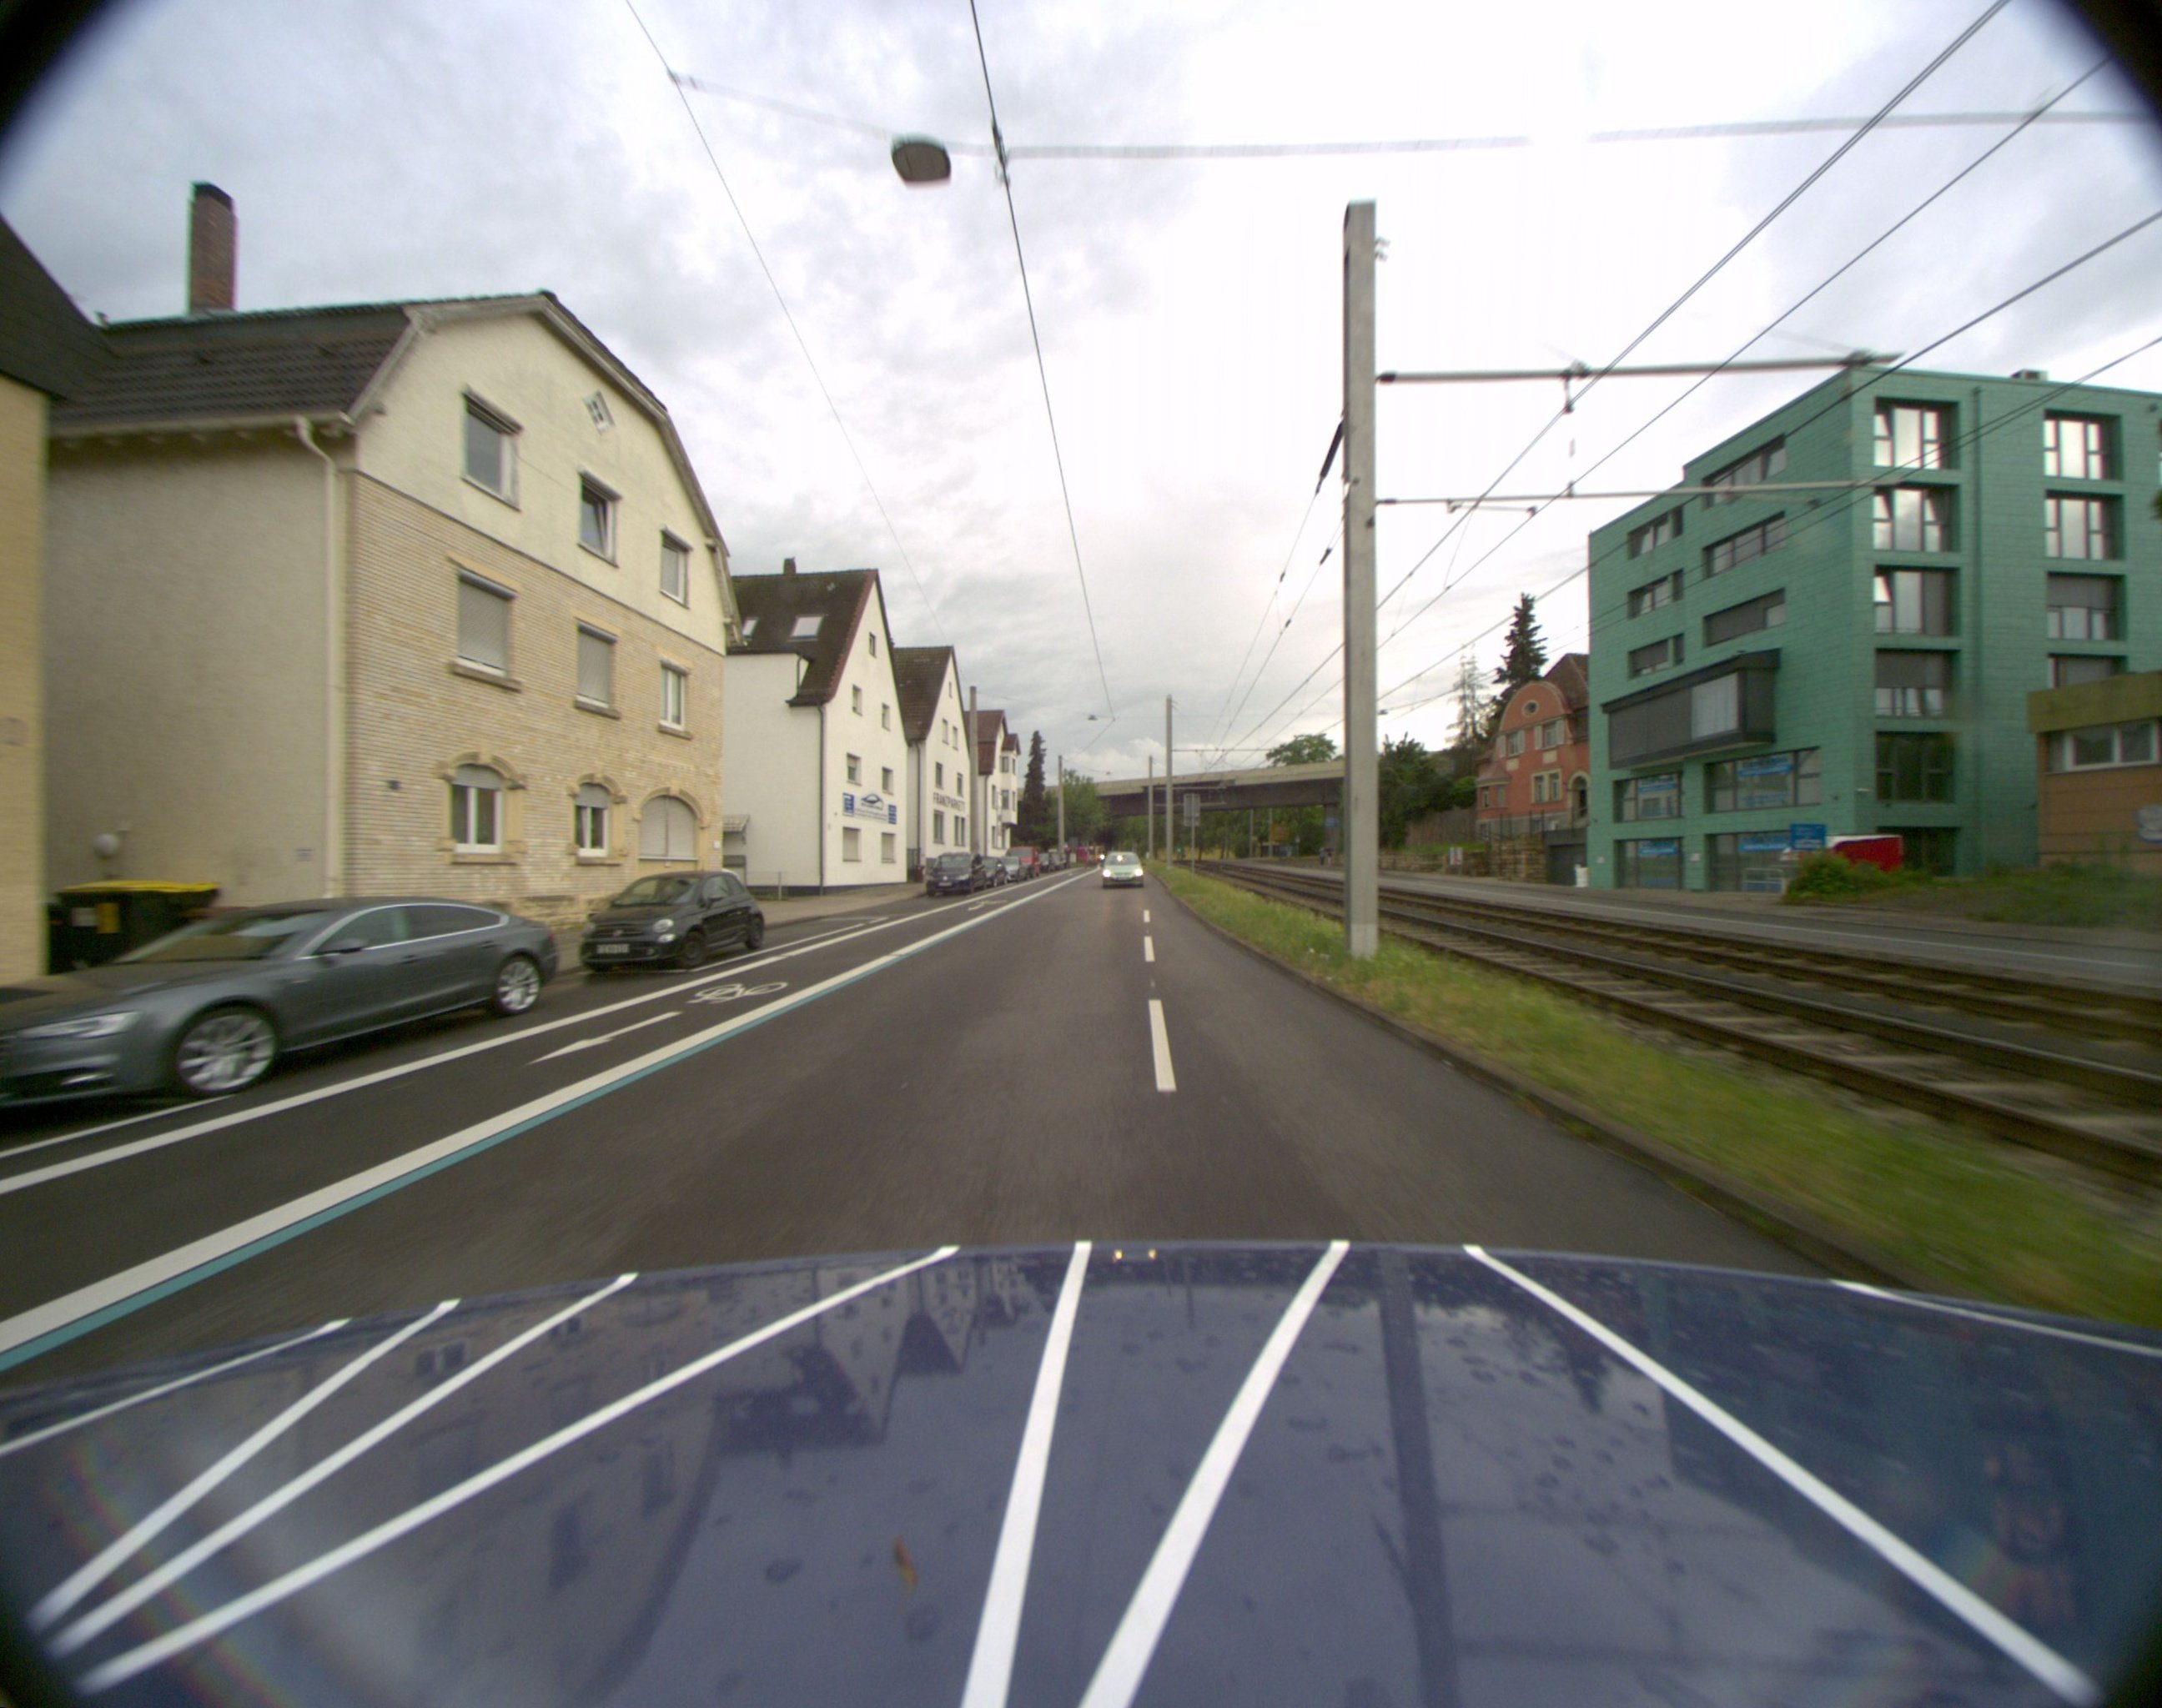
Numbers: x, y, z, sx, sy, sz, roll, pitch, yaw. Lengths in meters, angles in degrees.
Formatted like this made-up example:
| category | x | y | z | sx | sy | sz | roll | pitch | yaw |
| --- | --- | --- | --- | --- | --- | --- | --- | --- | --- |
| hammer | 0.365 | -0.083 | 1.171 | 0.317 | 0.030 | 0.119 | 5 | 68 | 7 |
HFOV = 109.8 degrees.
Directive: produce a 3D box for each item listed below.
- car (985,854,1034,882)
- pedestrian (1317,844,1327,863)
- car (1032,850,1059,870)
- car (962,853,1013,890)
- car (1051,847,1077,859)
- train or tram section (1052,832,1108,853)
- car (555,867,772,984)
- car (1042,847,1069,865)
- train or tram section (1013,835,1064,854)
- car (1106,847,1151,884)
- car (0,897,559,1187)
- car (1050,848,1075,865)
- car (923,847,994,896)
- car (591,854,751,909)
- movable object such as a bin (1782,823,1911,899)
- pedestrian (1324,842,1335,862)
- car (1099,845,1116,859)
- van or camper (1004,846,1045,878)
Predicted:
| category | x | y | z | sx | sy | sz | roll | pitch | yaw |
| --- | --- | --- | --- | --- | --- | --- | --- | --- | --- |
| car | -3.900 | 0.738 | 42.421 | 1.800 | 1.368 | 4.671 | -1 | 1 | 6 |
| pedestrian | 22.011 | -0.057 | 69.309 | 0.695 | 1.660 | 0.888 | -1 | 0 | 6 |
| car | -2.725 | 0.439 | 58.846 | 1.581 | 1.443 | 3.720 | 0 | 2 | 6 |
| car | -4.455 | 0.793 | 36.710 | 1.637 | 1.529 | 4.136 | -3 | 1 | 3 |
| car | -2.277 | -0.159 | 105.329 | 1.798 | 1.513 | 3.743 | -1 | 0 | 32 |
| train or tram section | -0.459 | -2.293 | 159.808 | 2.881 | 3.938 | 19.286 | -3 | 1 | -29 |
| car | -6.681 | 1.051 | 12.606 | 1.569 | 1.489 | 3.512 | -3 | 1 | 0 |
| car | -2.092 | 0.150 | 63.901 | 1.715 | 1.404 | 4.566 | -1 | 1 | 5 |
| train or tram section | -10.069 | -2.158 | 176.614 | 2.881 | 3.948 | 19.284 | -3 | 1 | -31 |
| car | 1.990 | 0.481 | 32.902 | 1.780 | 1.492 | 4.001 | 0 | -1 | 1 |
| car | -7.076 | 1.247 | 6.648 | 1.793 | 1.398 | 4.552 | -2 | 0 | 0 |
| car | -1.646 | 0.207 | 69.365 | 1.680 | 1.415 | 4.566 | -1 | 1 | 5 |
| car | -5.039 | 0.677 | 31.867 | 1.843 | 1.790 | 4.687 | -3 | 1 | 3 |
| car | -12.823 | 0.834 | 23.936 | 3.996 | 1.644 | 1.871 | 0 | 0 | 2 |
| movable object such as a bin | 23.514 | 0.212 | 23.408 | 2.140 | 2.144 | 1.801 | -3 | 0 | -5 |
| pedestrian | 22.862 | -0.158 | 69.975 | 0.695 | 1.820 | 0.867 | -1 | 0 | 4 |
| car | 2.830 | -0.222 | 82.999 | 1.780 | 1.493 | 4.000 | 0 | 1 | 1 |
| van or camper | -3.497 | 0.446 | 48.135 | 1.855 | 1.909 | 4.995 | 0 | 1 | 4 |
